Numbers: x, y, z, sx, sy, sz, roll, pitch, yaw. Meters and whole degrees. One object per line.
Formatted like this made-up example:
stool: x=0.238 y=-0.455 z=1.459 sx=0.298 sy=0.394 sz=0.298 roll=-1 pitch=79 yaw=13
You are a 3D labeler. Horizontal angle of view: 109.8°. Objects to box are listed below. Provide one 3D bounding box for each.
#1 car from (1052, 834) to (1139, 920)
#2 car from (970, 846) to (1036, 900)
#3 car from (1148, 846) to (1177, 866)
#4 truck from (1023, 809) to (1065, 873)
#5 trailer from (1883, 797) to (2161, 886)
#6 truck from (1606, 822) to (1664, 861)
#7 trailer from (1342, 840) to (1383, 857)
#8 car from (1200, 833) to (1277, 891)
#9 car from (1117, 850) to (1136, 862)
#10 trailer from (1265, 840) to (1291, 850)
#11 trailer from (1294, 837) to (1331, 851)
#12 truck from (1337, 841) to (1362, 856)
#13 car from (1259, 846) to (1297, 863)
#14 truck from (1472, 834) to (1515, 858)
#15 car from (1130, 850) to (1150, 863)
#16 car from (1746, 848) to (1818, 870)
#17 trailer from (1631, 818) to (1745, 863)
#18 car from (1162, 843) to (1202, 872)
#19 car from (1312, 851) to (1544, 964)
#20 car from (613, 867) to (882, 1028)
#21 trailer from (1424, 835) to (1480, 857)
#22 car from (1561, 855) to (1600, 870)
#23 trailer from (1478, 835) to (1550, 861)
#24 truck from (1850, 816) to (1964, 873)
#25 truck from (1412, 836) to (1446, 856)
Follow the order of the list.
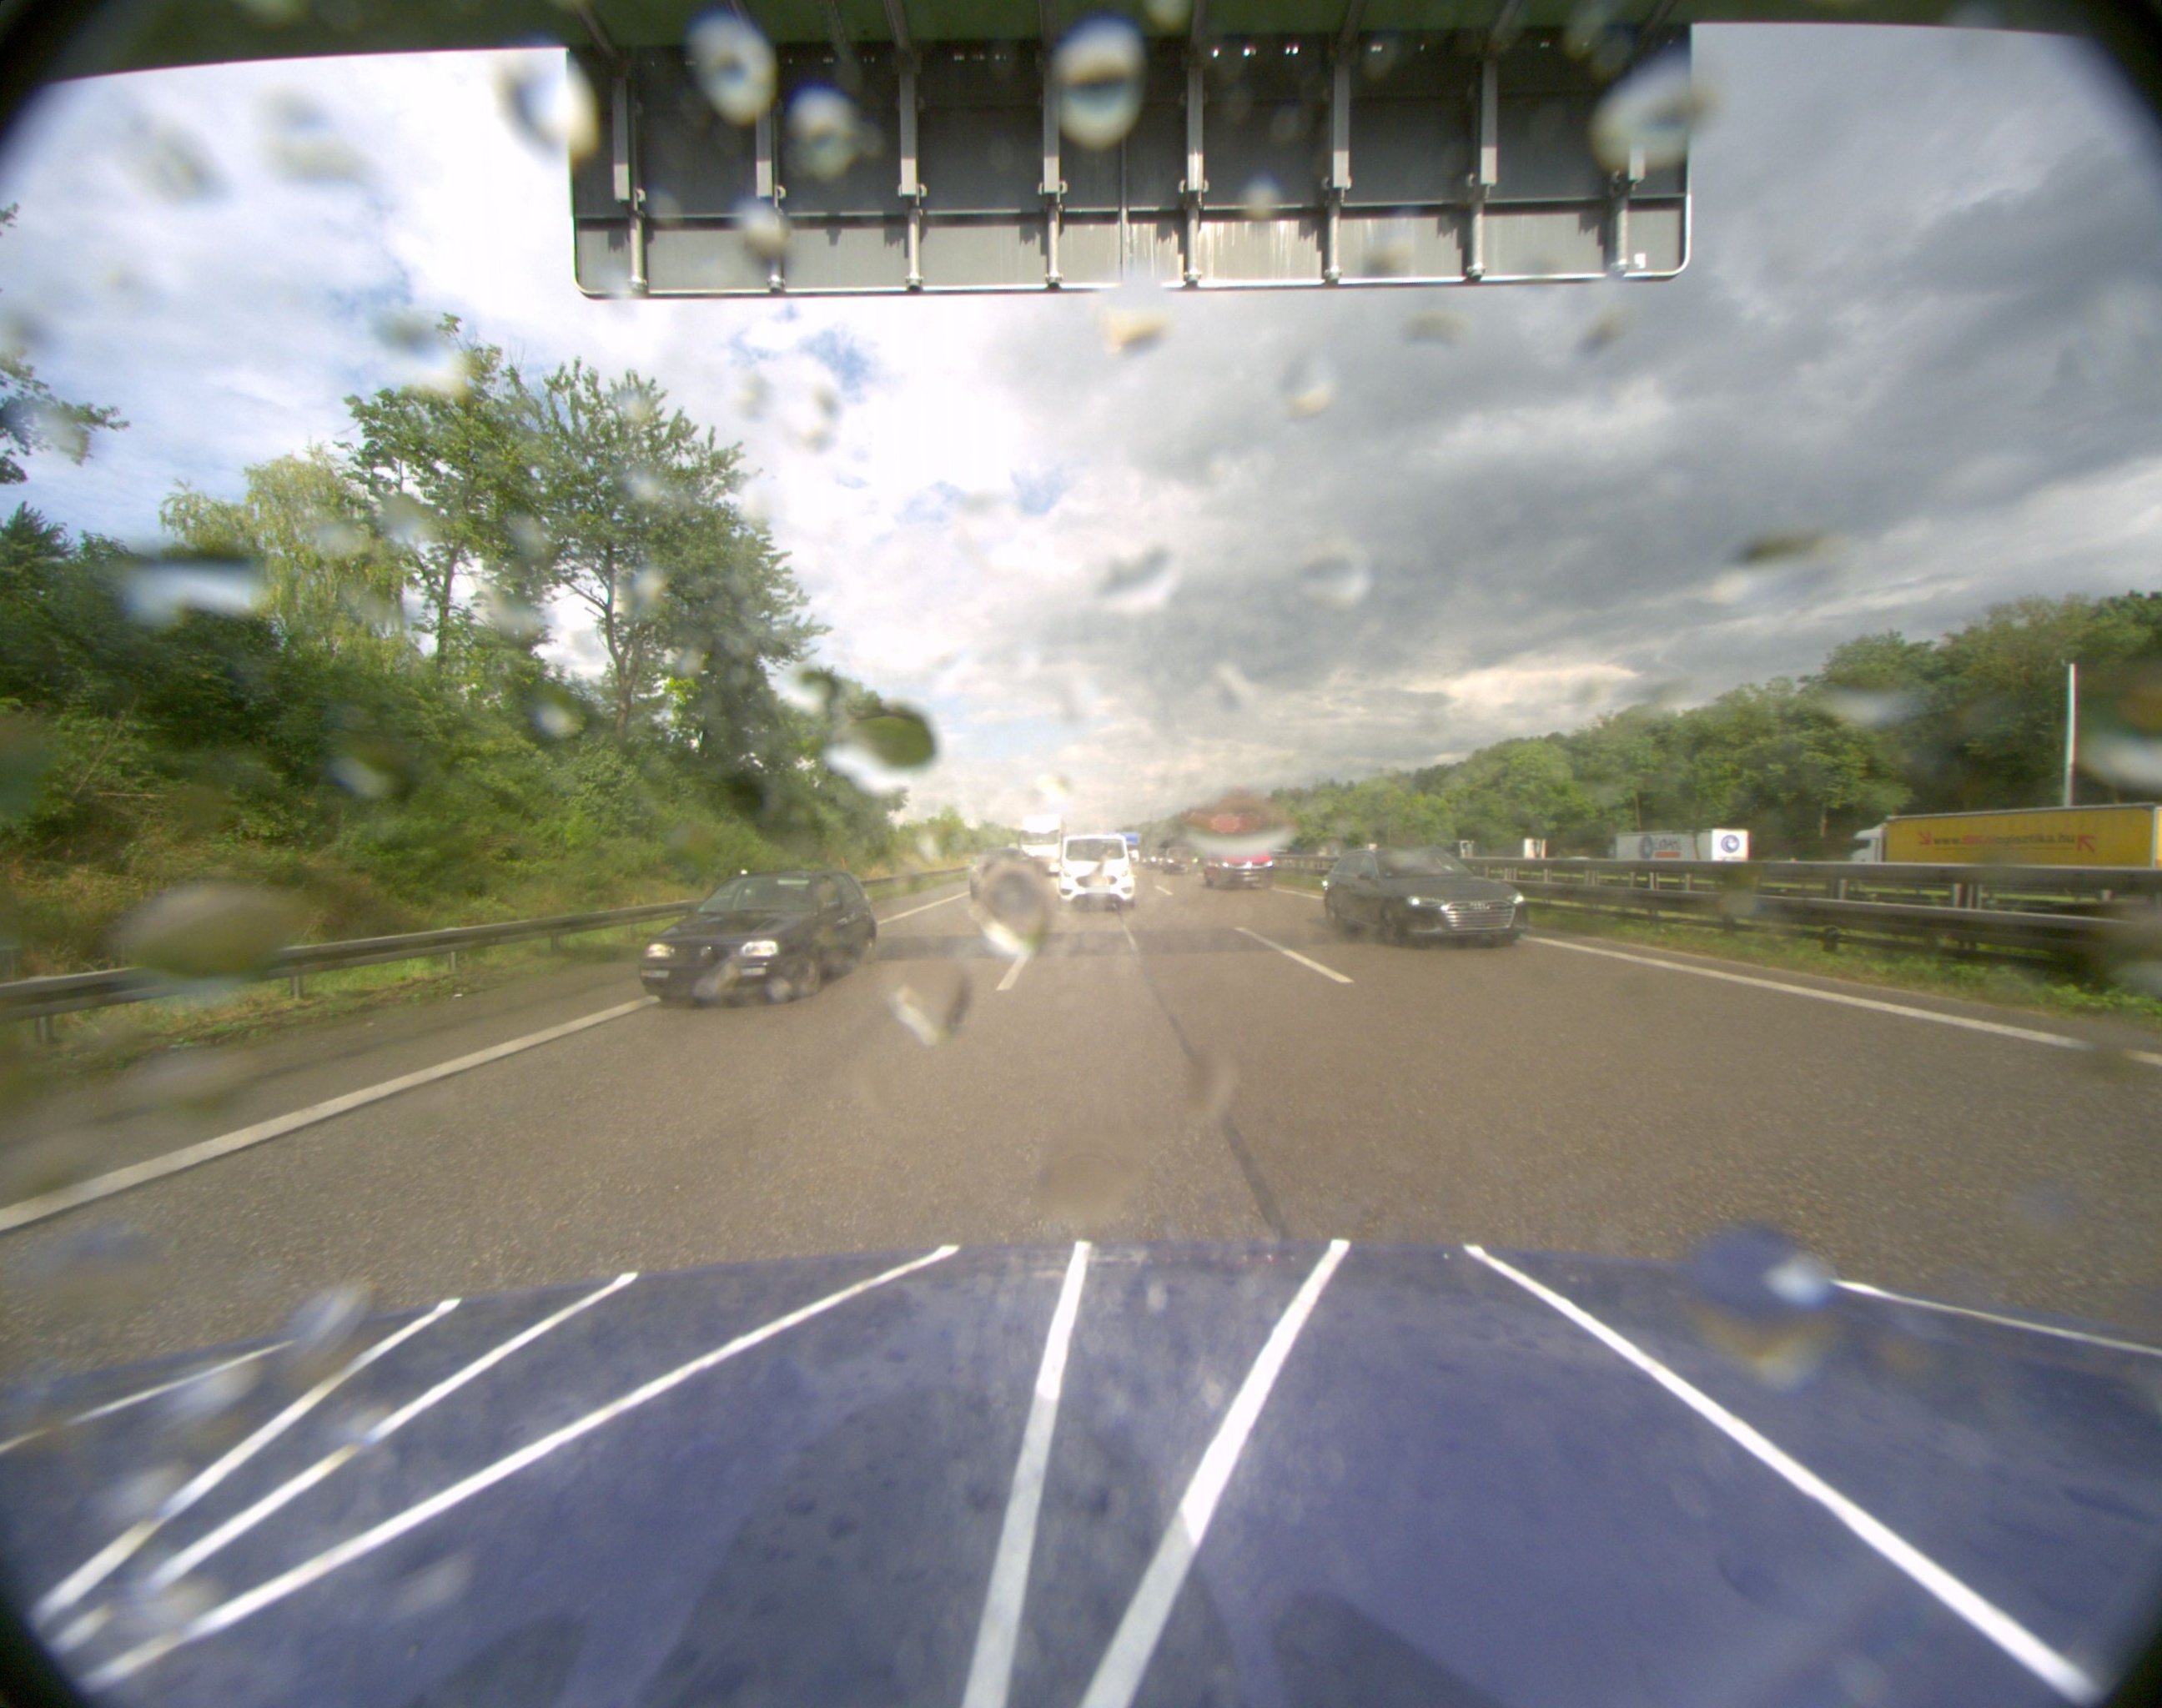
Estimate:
car: x=0.371 y=0.524 z=20.564 sx=1.985 sy=1.973 sz=5.168 roll=-2 pitch=0 yaw=0
car: x=-2.846 y=0.629 z=28.817 sx=1.831 sy=1.793 sz=5.305 roll=-1 pitch=1 yaw=1
car: x=6.644 y=0.147 z=62.375 sx=1.895 sy=1.558 sz=4.053 roll=-2 pitch=1 yaw=0
truck: x=-2.465 y=-0.864 z=52.063 sx=2.460 sy=4.080 sz=5.332 roll=-2 pitch=0 yaw=1
trailer: x=46.897 y=-0.708 z=38.052 sx=1.996 sy=3.674 sz=13.669 roll=-2 pitch=1 yaw=13
truck: x=53.935 y=-1.192 z=74.160 sx=2.167 sy=3.599 sz=5.581 roll=0 pitch=1 yaw=8
trailer: x=56.723 y=-1.080 z=153.449 sx=3.193 sy=3.253 sz=12.644 roll=0 pitch=1 yaw=-2
car: x=5.889 y=0.253 z=28.981 sx=1.895 sy=1.973 sz=4.750 roll=-2 pitch=0 yaw=0
car: x=5.137 y=0.233 z=86.991 sx=1.888 sy=1.228 sz=4.506 roll=-2 pitch=0 yaw=0
trailer: x=51.331 y=-2.398 z=198.627 sx=2.537 sy=2.559 sz=9.869 roll=-2 pitch=1 yaw=-11
trailer: x=54.070 y=-2.293 z=177.968 sx=3.085 sy=3.253 sz=13.400 roll=0 pitch=1 yaw=-6
truck: x=56.506 y=-1.153 z=160.263 sx=3.182 sy=3.237 sz=5.389 roll=0 pitch=1 yaw=-2
car: x=14.992 y=0.014 z=57.916 sx=1.849 sy=1.288 sz=3.999 roll=-1 pitch=1 yaw=0
truck: x=57.366 y=-1.097 z=105.859 sx=3.049 sy=3.166 sz=5.597 roll=0 pitch=1 yaw=2
car: x=6.069 y=0.252 z=78.201 sx=1.675 sy=1.228 sz=3.999 roll=-2 pitch=0 yaw=0
car: x=51.070 y=0.337 z=55.457 sx=1.898 sy=1.494 sz=4.002 roll=0 pitch=1 yaw=8
trailer: x=52.892 y=-1.131 z=66.811 sx=2.186 sy=3.579 sz=11.725 roll=0 pitch=1 yaw=8
car: x=6.289 y=0.204 z=47.604 sx=1.895 sy=1.660 sz=4.294 roll=-2 pitch=1 yaw=0
car: x=5.278 y=0.701 z=12.289 sx=1.723 sy=1.403 sz=4.467 roll=-2 pitch=1 yaw=1
car: x=-3.786 y=0.951 z=9.384 sx=1.655 sy=1.448 sz=3.744 roll=-2 pitch=1 yaw=-1
trailer: x=57.574 y=-1.269 z=118.411 sx=2.611 sy=3.253 sz=12.646 roll=0 pitch=1 yaw=0
car: x=55.587 y=0.934 z=84.610 sx=1.899 sy=1.494 sz=4.001 roll=0 pitch=1 yaw=5
trailer: x=56.730 y=-0.820 z=100.039 sx=3.026 sy=3.174 sz=12.175 roll=0 pitch=1 yaw=2
truck: x=48.433 y=-0.573 z=44.733 sx=1.979 sy=3.080 sz=5.080 roll=-2 pitch=1 yaw=13
truck: x=57.610 y=-1.359 z=125.817 sx=2.582 sy=3.232 sz=6.535 roll=0 pitch=1 yaw=0
